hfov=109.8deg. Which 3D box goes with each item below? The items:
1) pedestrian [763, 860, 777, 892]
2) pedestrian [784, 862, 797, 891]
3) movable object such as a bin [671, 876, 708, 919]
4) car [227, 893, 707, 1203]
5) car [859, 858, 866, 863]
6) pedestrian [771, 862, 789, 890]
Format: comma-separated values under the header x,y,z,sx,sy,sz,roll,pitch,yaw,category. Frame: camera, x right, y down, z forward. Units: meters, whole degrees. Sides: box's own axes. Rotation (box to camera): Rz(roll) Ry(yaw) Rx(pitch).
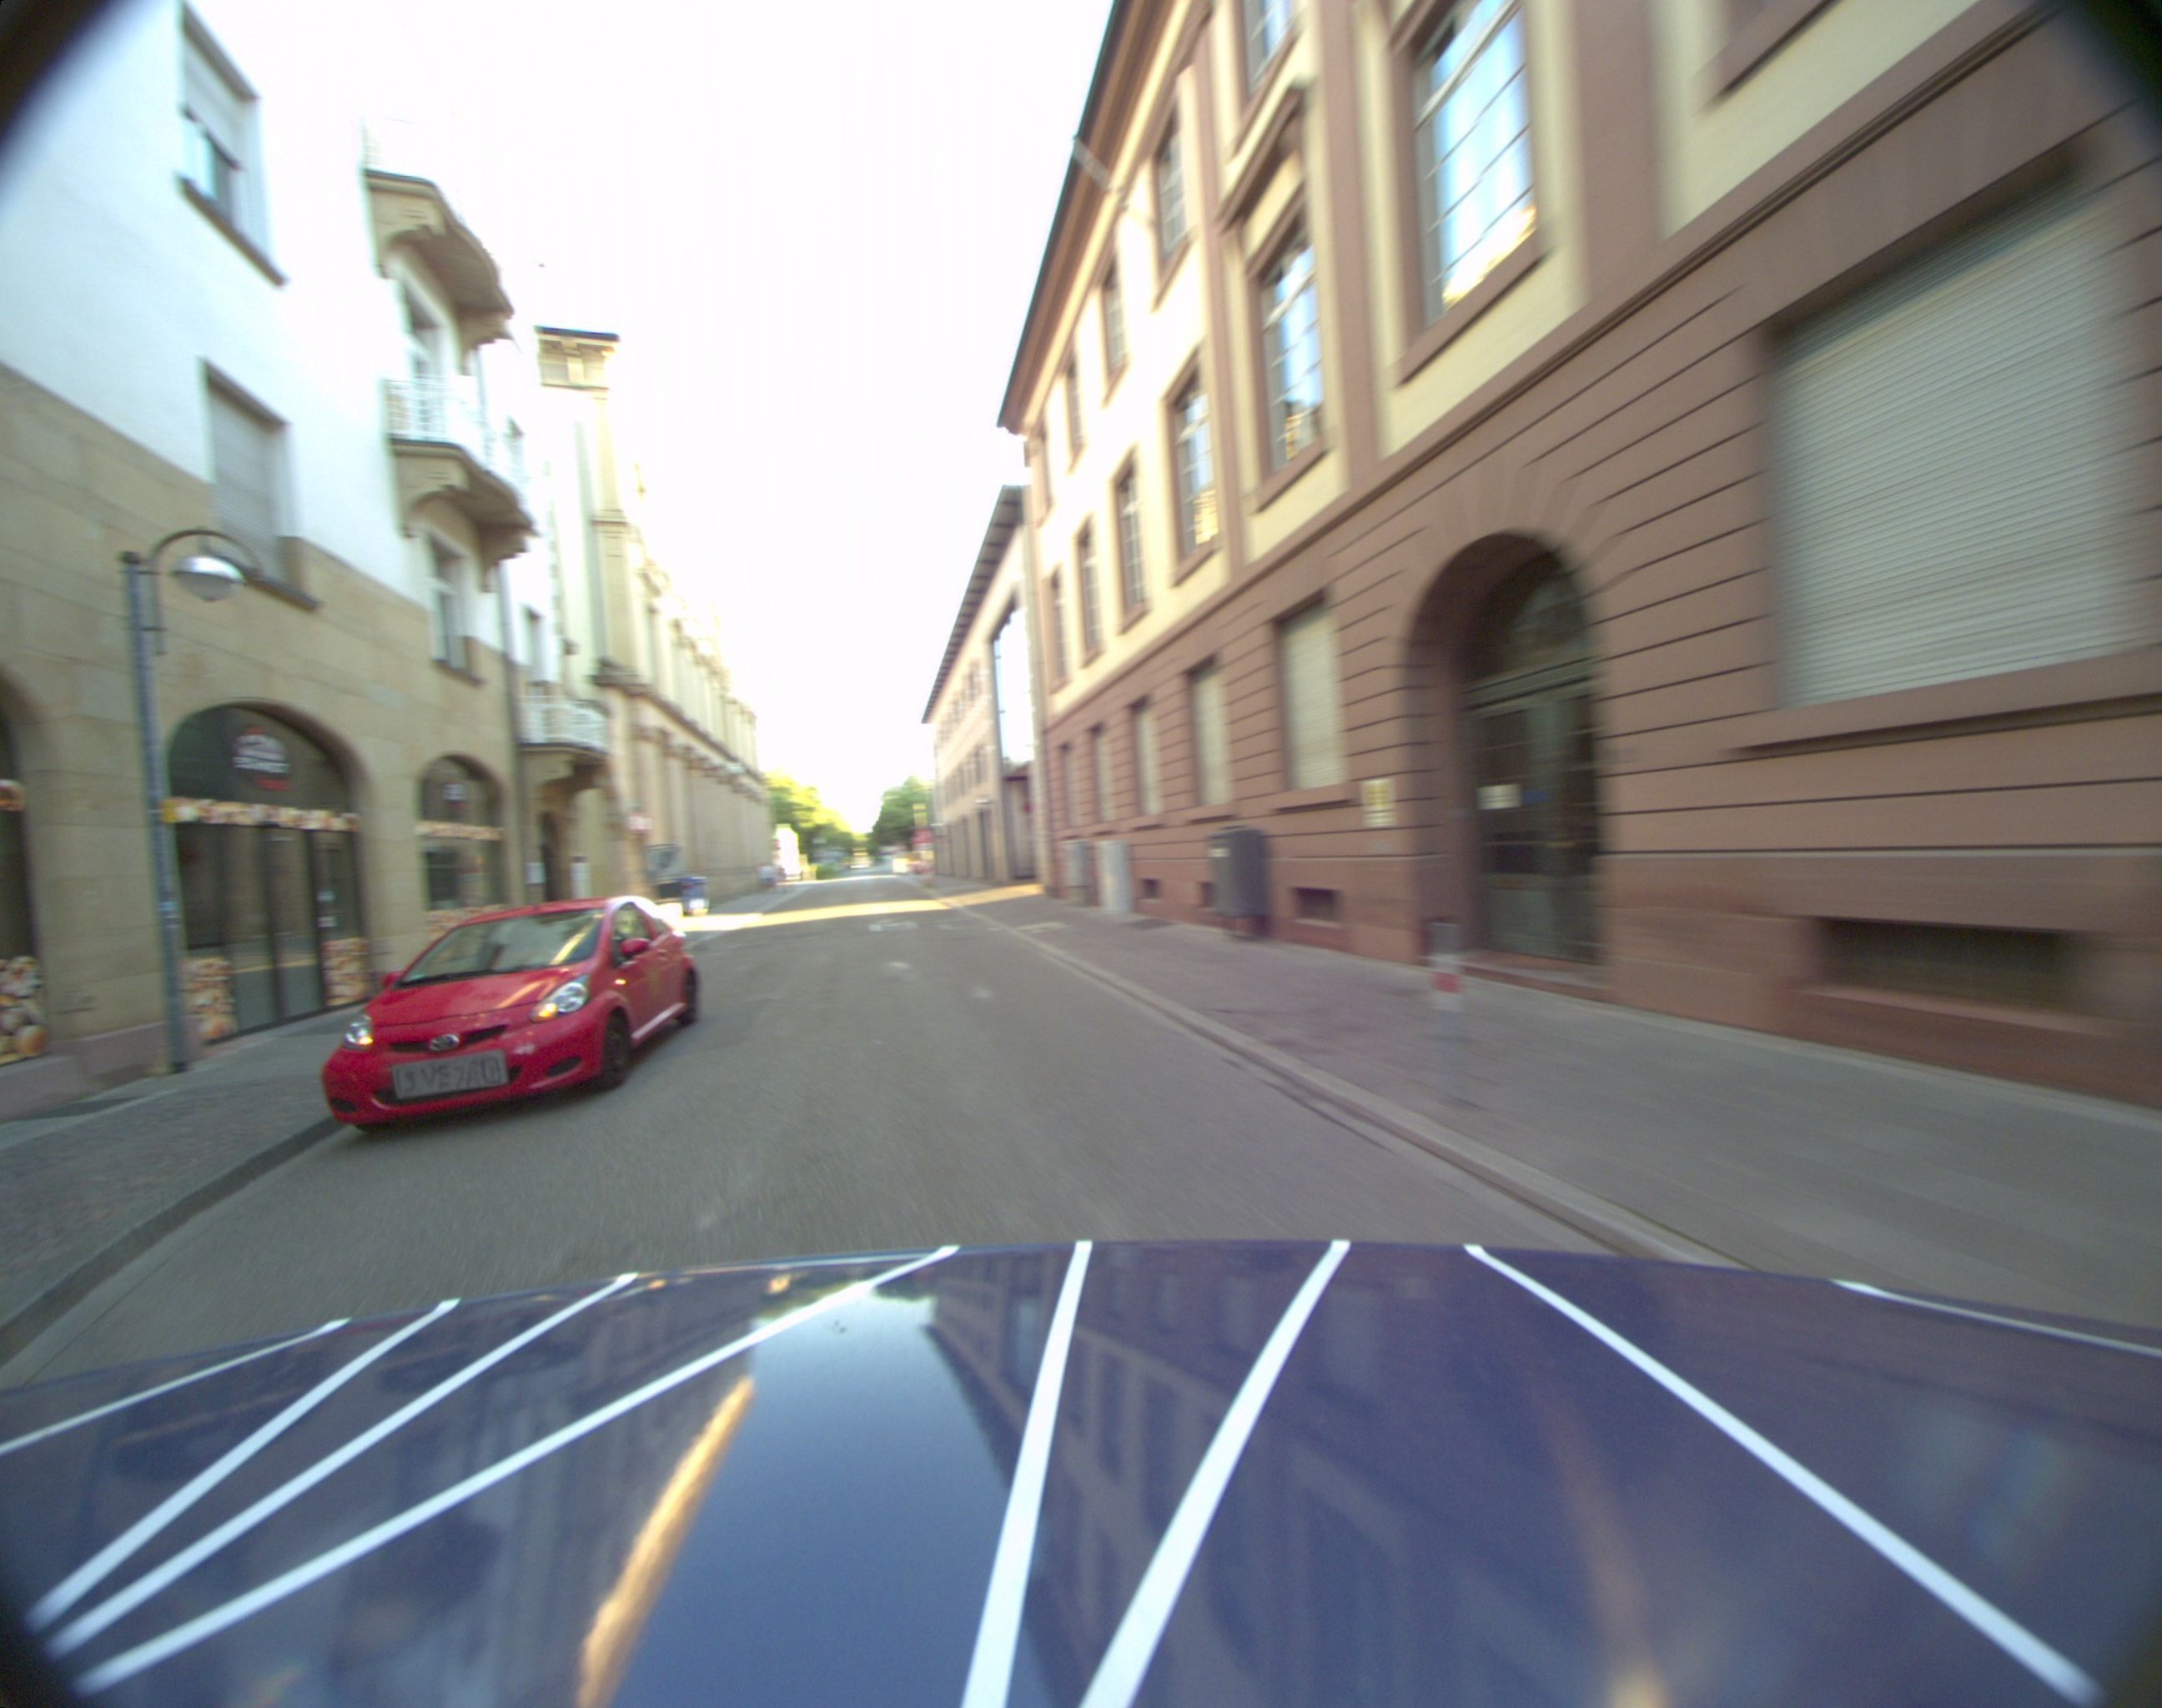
x,y,z,sx,sy,sz,roll,pitch,yaw,category
-17.614,1.239,43.047,0.649,1.768,0.757,-1,1,-18,pedestrian
-16.627,1.278,43.470,0.649,1.643,0.757,-1,1,-18,pedestrian
-13.181,1.454,25.612,0.900,1.367,1.136,-2,1,-17,movable object such as a bin
-4.512,1.234,6.359,1.619,1.417,3.592,-7,2,-14,car
-62.402,1.846,217.079,1.860,1.519,3.994,-4,1,-15,car
-17.694,1.286,44.685,0.857,1.589,0.922,-1,1,-18,pedestrian
